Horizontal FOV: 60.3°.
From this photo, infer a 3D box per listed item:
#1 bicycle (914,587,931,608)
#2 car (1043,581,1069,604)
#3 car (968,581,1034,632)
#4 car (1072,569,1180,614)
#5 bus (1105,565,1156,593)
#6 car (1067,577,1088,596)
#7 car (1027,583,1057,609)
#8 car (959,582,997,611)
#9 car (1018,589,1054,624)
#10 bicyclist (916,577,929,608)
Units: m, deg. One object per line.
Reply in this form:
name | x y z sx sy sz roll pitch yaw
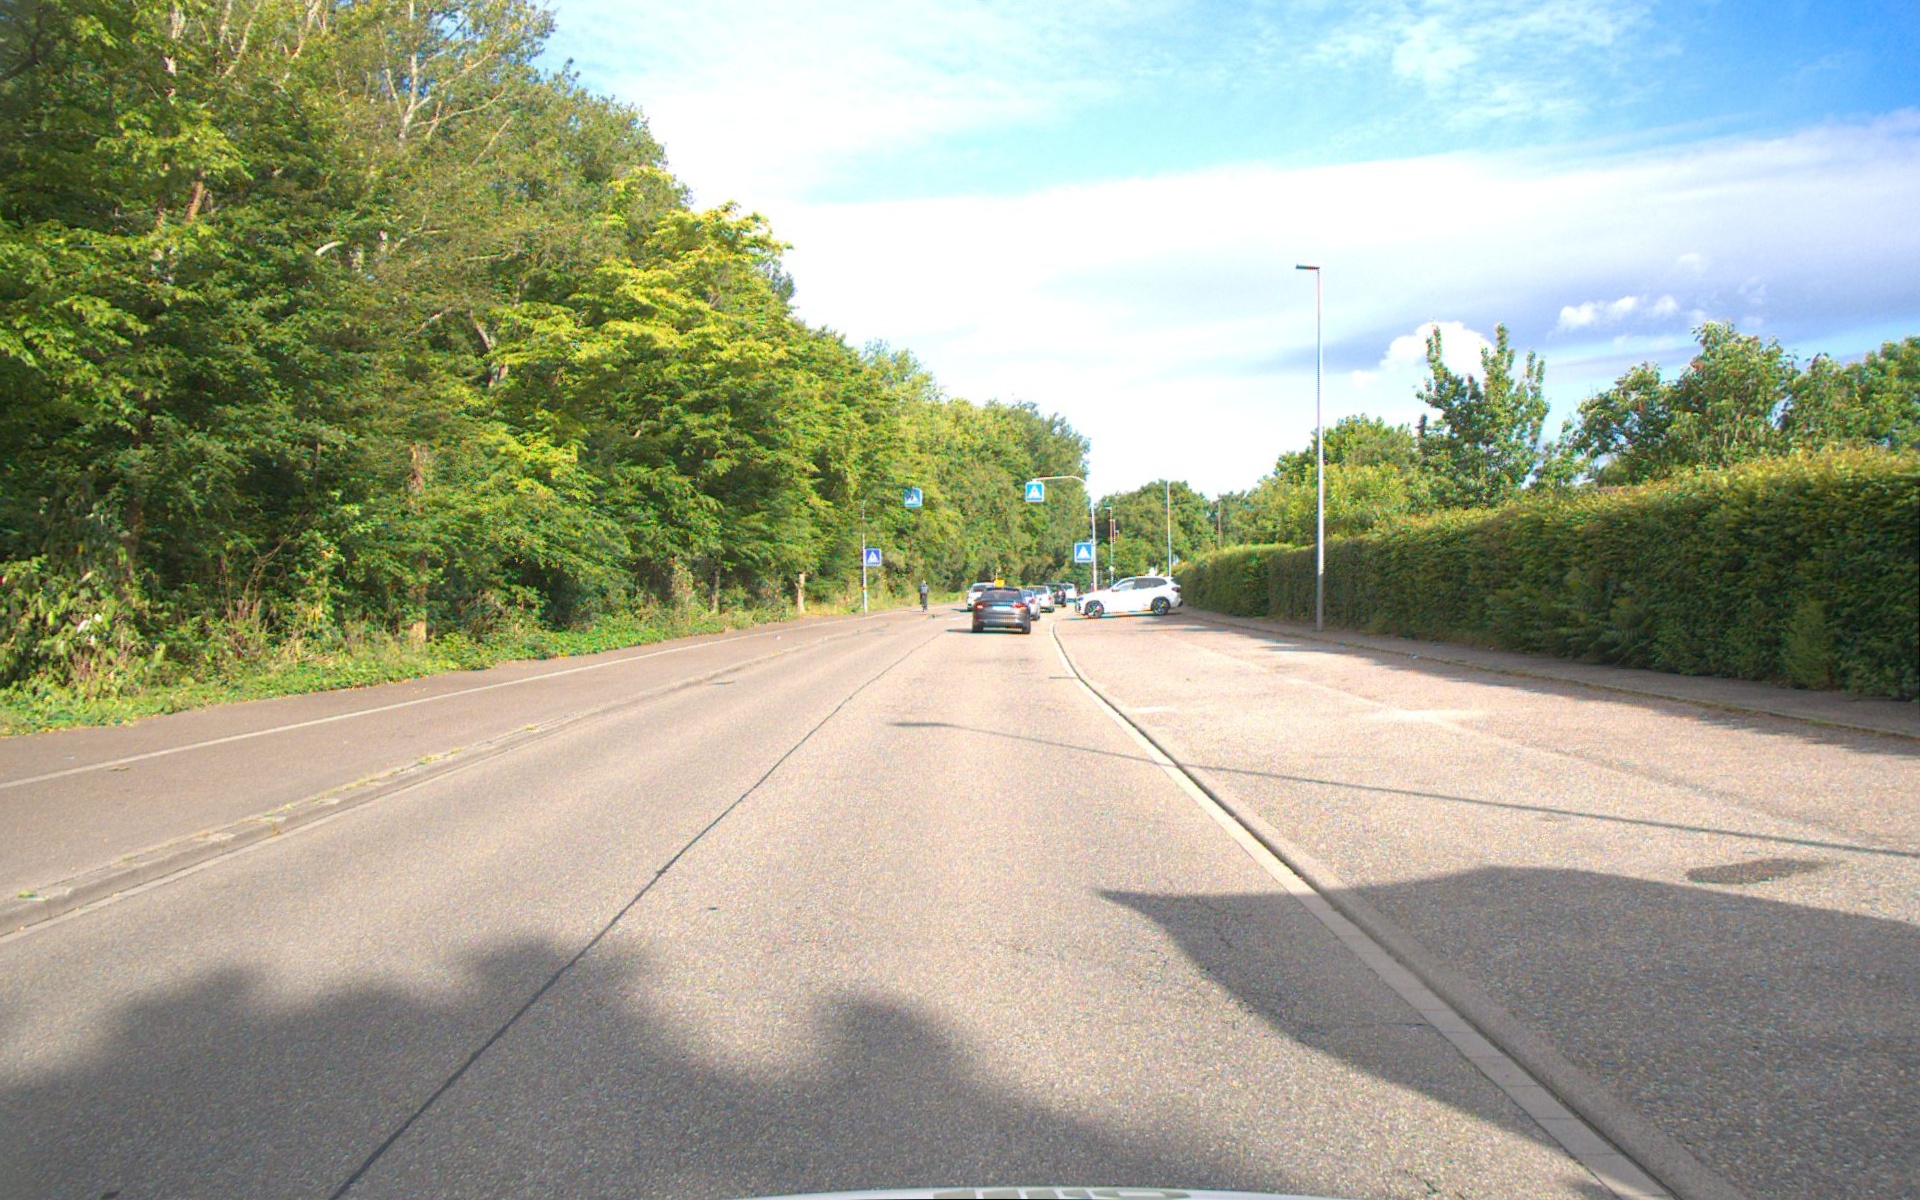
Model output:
bicycle | -2.066 -0.135 91.495 0.648 1.116 2.350 1 1 6
car | 6.274 -0.500 107.937 1.463 1.390 3.264 -1 1 6
car | 1.271 0.167 51.696 1.925 1.459 4.337 -2 1 1
car | 7.108 -0.375 70.877 4.491 1.729 1.764 -2 0 6
bus | 18.195 -2.243 176.400 5.253 2.794 2.069 -2 1 3
car | 9.459 -1.095 132.985 1.463 1.390 3.265 -1 1 8
car | 4.455 -0.247 89.373 1.463 1.327 3.264 -1 1 5
car | 1.072 -0.214 96.846 1.764 1.613 4.105 -2 0 7
car | 3.327 0.270 72.115 1.463 1.390 3.264 -1 1 4
bicyclist | -2.071 -0.440 91.458 0.596 1.706 0.884 0 1 6
